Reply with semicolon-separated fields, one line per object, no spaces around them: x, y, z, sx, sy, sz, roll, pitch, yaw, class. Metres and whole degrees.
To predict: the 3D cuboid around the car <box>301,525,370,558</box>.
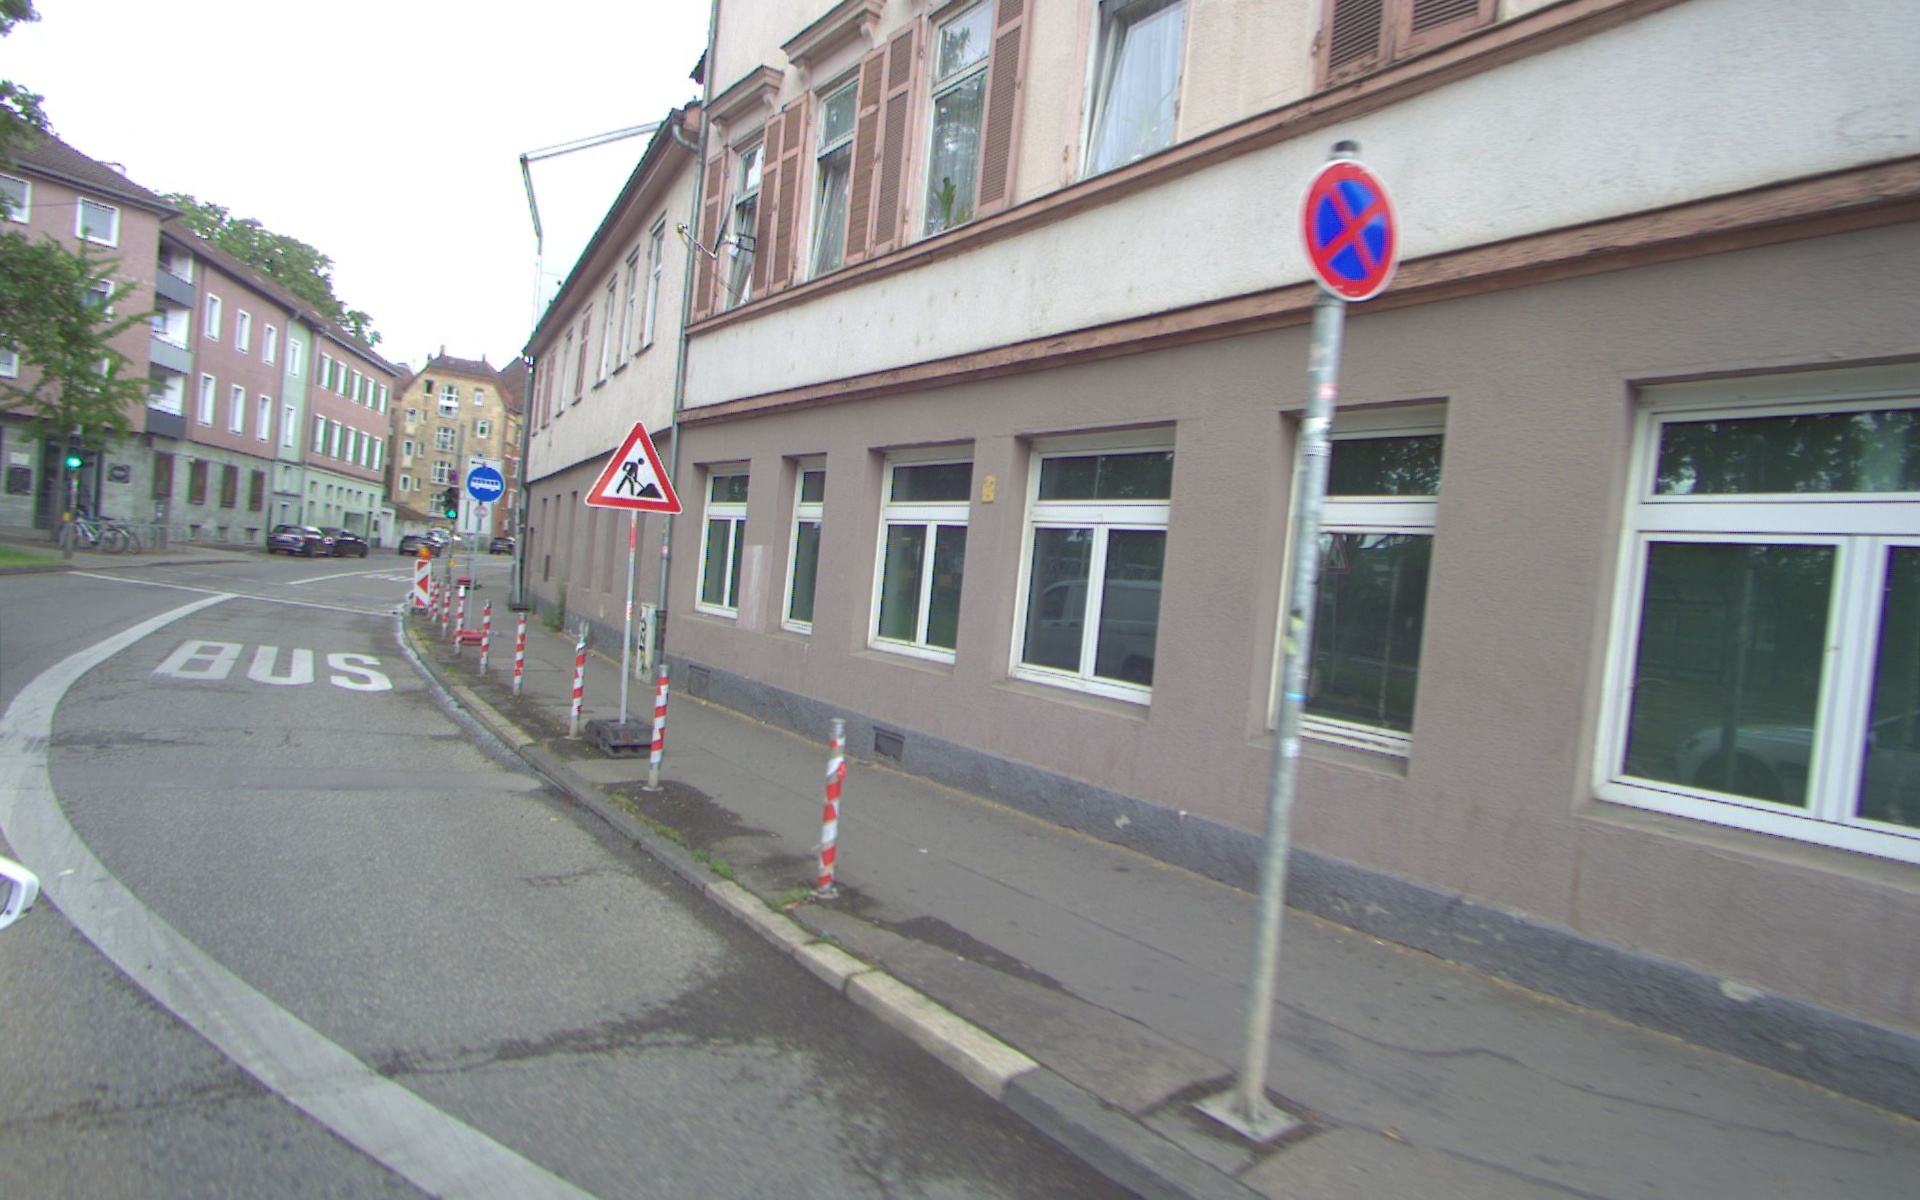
-32.250;-2.974;52.092;1.969;1.416;3.986;4;1;-16;car

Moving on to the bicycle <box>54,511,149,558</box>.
-24.443;-1.863;28.664;1.990;1.048;0.556;7;-1;-43;bicycle

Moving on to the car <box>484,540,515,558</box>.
-43.196;-4.742;94.398;1.969;1.416;3.986;4;1;-16;car

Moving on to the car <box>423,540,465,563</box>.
-38.010;-3.572;74.212;1.969;1.416;3.986;4;1;-16;car

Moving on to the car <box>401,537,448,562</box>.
-36.365;-3.402;68.451;1.969;1.416;3.986;4;1;-16;car

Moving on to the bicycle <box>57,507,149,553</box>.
-25.209;-2.049;29.617;1.990;1.048;0.556;7;-1;-43;bicycle

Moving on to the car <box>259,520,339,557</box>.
-30.895;-2.836;47.162;1.969;1.416;3.986;4;1;-16;car
